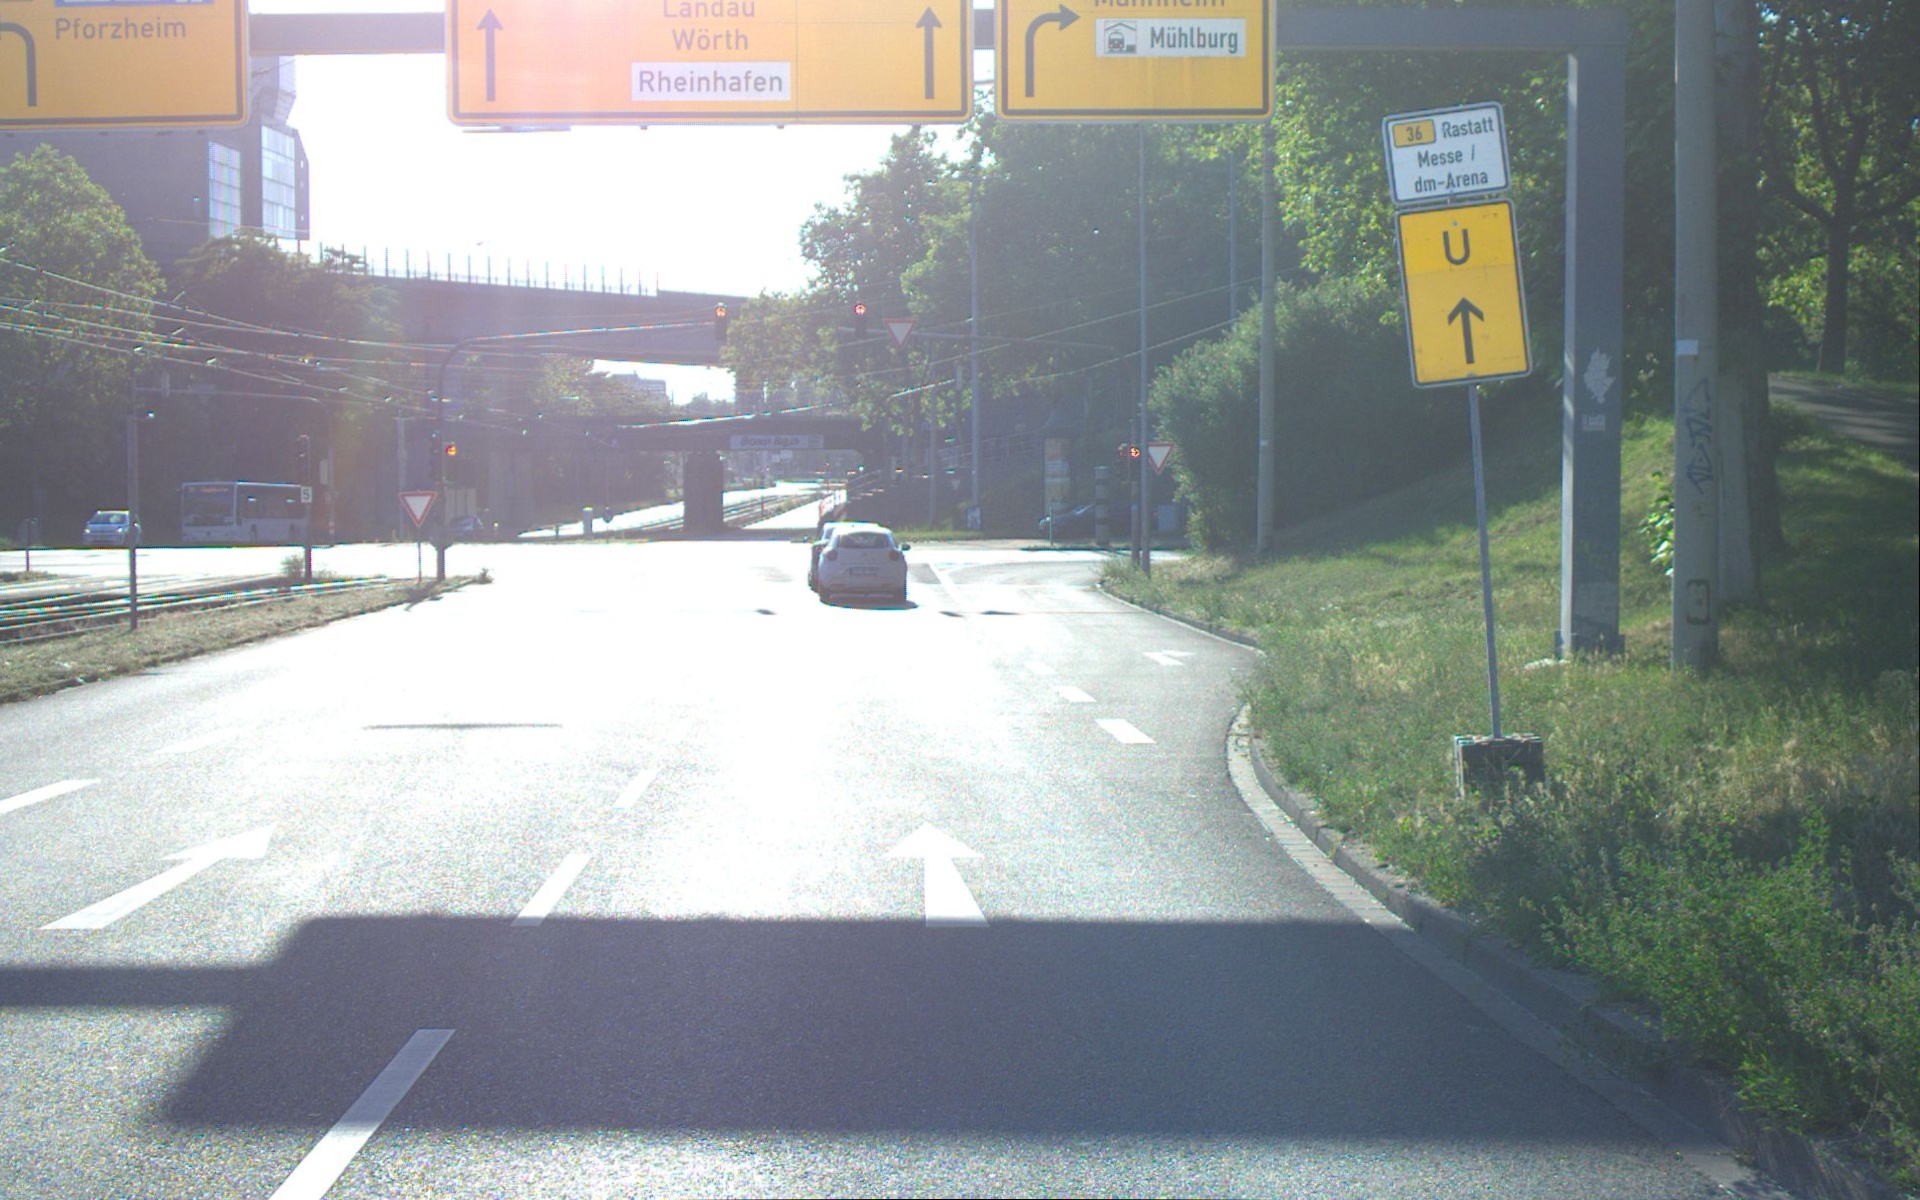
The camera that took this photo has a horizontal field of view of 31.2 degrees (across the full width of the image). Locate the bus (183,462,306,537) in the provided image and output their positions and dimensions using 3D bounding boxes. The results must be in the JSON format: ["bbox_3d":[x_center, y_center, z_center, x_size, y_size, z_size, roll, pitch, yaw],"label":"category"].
[{"bbox_3d":[-31.885,-4.415,153.730,2.543,3.119,12.918,0,1,1],"label":"bus"}]

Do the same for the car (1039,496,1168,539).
[{"bbox_3d":[5.440,-3.134,130.469,4.574,1.569,1.694,0,2,-18],"label":"car"}]

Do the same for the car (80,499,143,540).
[{"bbox_3d":[-32.343,-3.069,131.079,1.606,1.507,4.009,1,2,-3],"label":"car"}]

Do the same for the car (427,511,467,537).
[{"bbox_3d":[-28.680,-4.263,192.253,1.606,1.414,4.008,1,2,0],"label":"car"}]

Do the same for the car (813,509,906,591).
[{"bbox_3d":[-2.008,-1.008,67.774,1.736,1.500,4.001,0,2,-3],"label":"car"}]
